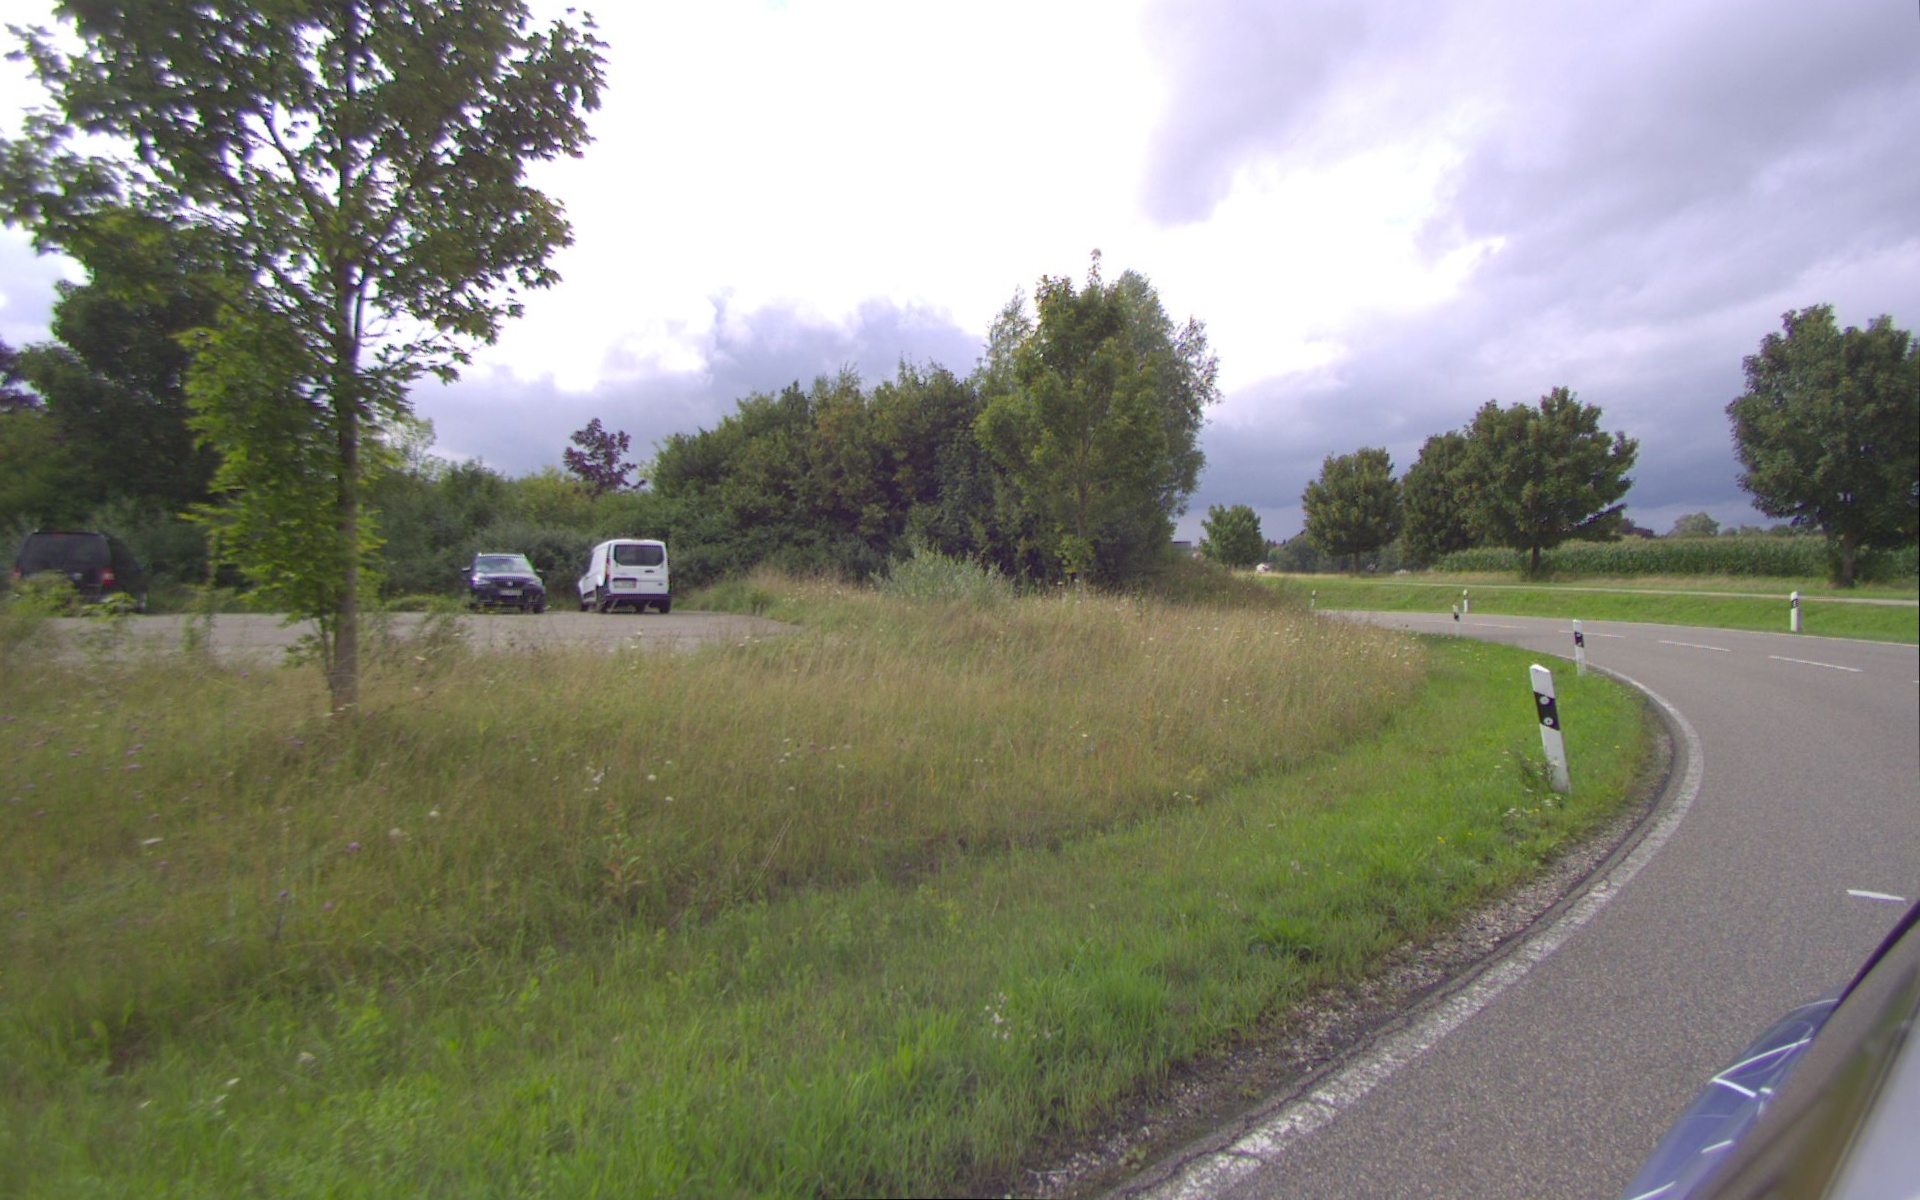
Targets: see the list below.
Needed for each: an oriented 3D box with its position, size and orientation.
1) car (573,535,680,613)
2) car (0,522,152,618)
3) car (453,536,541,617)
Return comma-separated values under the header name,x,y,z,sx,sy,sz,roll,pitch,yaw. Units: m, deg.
name,x,y,z,sx,sy,sz,roll,pitch,yaw
car,-8.842,-0.732,26.631,1.960,1.882,4.006,-1,3,-29
car,-19.250,-0.680,21.992,1.960,1.882,4.006,-1,3,-29
car,-11.823,-0.640,25.723,1.709,1.882,4.006,-1,3,-29
